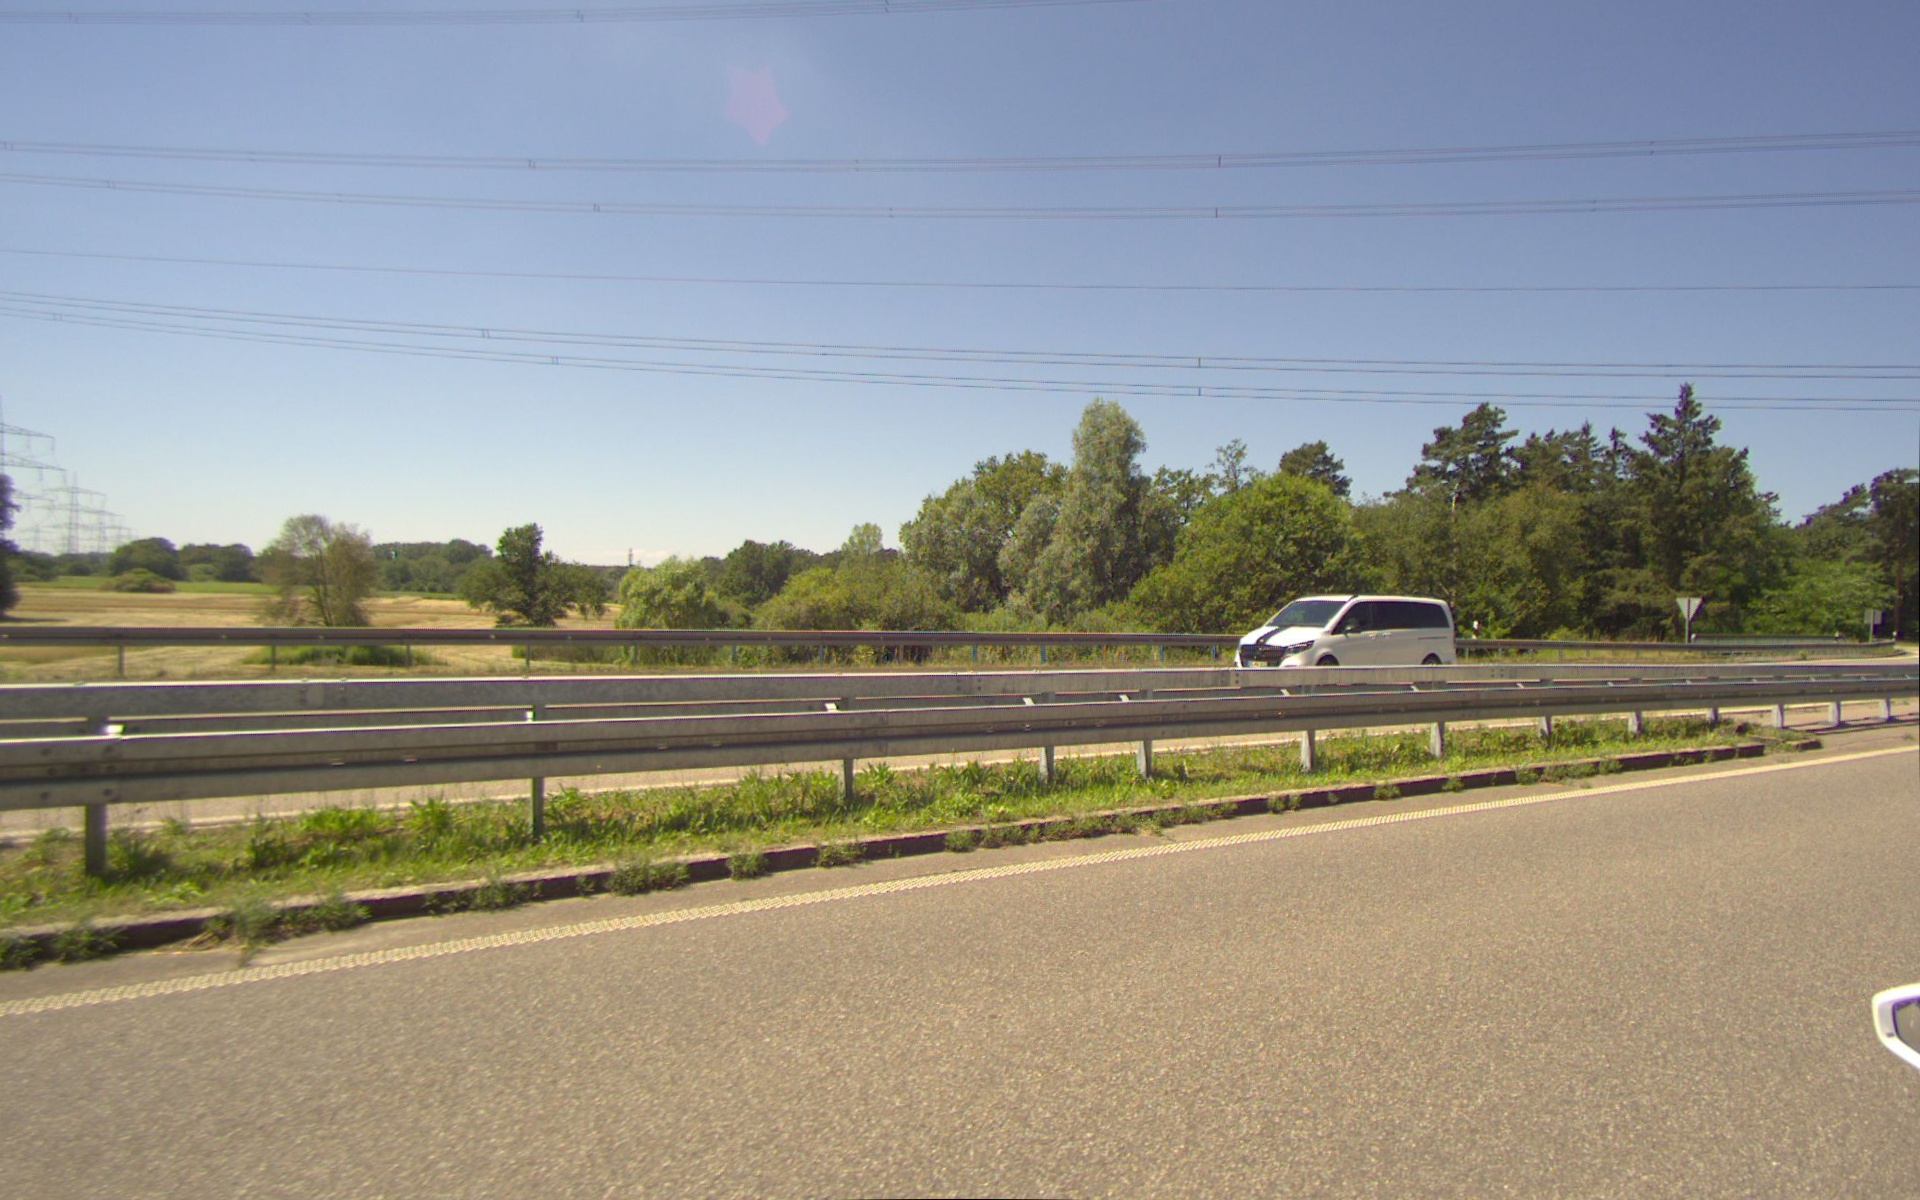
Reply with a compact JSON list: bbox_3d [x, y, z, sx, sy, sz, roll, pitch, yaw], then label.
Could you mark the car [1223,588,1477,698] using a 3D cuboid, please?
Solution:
[{"bbox_3d":[8.055,0.853,20.561,5.468,2.019,1.882,1,-1,-30],"label":"car"}]
